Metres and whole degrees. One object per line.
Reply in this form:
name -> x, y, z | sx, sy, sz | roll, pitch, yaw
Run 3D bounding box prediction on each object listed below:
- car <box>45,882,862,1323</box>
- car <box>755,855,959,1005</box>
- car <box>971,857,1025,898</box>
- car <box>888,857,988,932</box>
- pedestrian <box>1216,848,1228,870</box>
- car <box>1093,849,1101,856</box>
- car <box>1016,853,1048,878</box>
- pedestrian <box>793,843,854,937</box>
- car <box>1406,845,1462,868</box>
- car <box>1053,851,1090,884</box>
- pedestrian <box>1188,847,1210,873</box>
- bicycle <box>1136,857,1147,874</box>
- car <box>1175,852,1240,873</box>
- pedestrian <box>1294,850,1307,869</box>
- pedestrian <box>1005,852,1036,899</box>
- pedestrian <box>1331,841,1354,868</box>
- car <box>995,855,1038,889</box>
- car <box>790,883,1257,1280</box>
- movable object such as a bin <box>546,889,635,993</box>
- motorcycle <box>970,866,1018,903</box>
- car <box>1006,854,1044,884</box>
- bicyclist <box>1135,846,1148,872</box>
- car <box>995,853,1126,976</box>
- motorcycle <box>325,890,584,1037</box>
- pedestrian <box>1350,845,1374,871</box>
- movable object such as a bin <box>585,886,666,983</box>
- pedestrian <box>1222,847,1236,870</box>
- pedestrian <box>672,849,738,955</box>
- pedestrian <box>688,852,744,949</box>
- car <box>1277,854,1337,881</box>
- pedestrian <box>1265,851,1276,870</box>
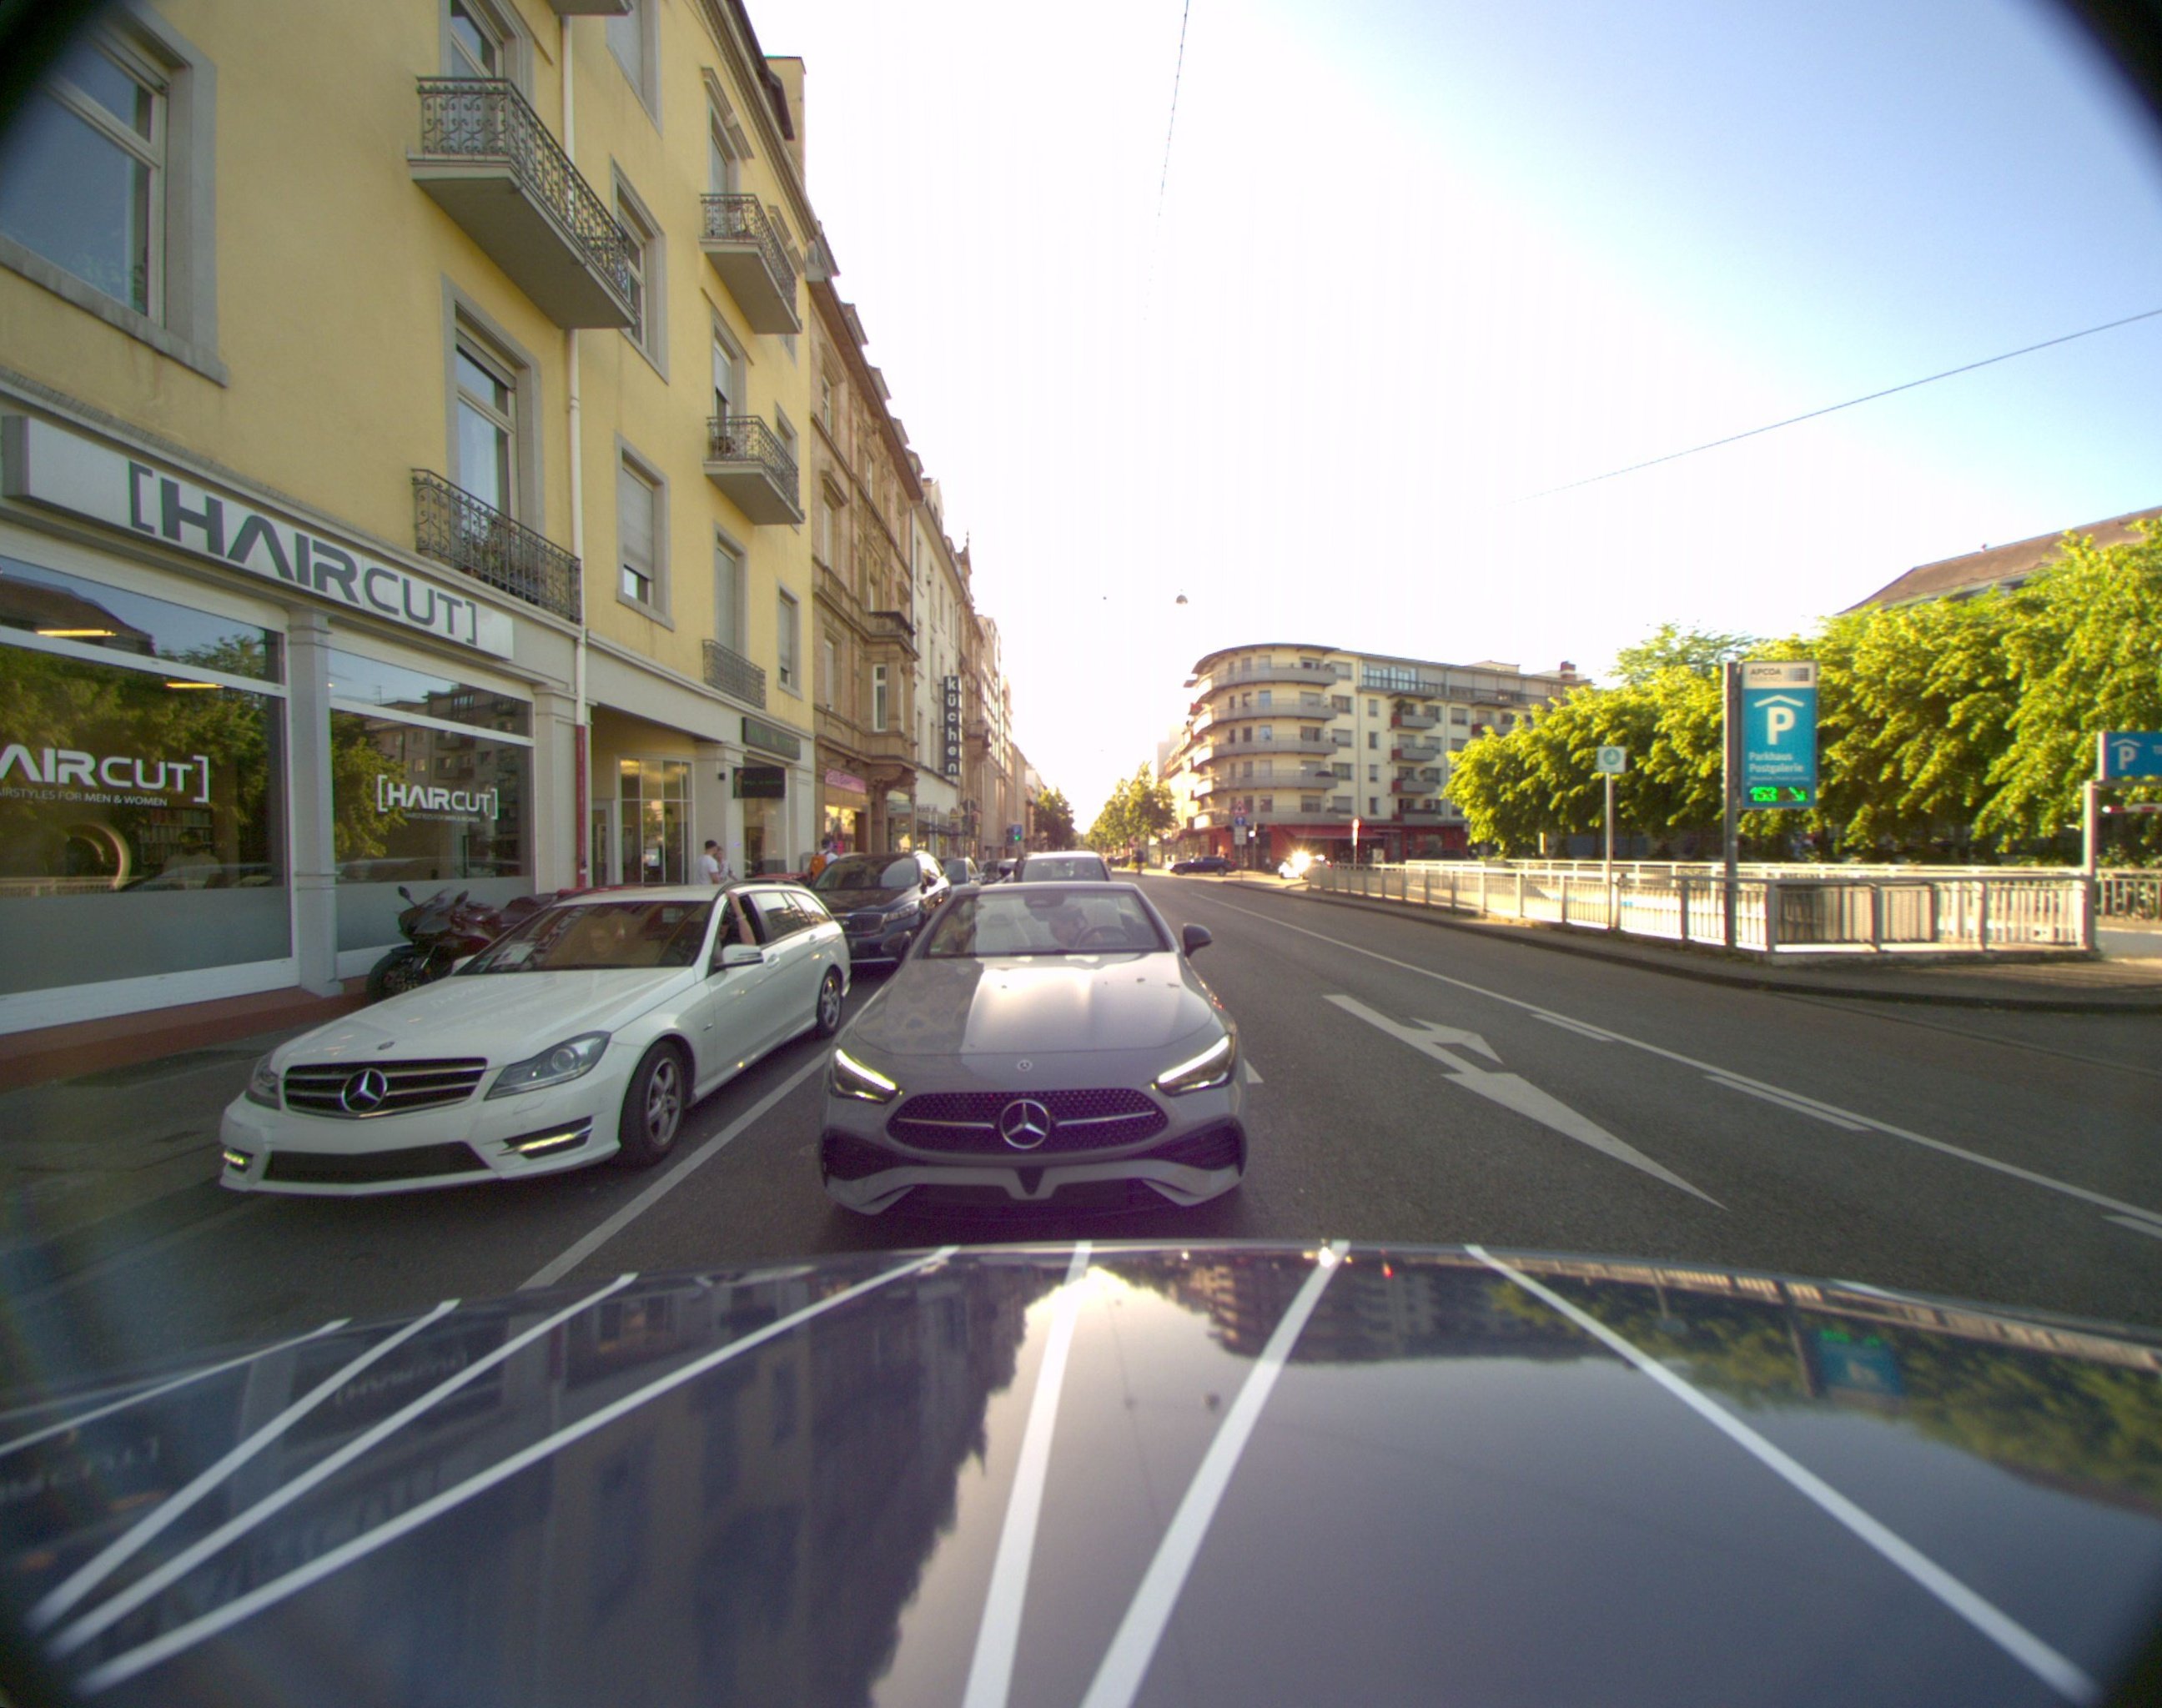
car -> -3.049, 1.035, 5.202 | 1.759, 1.453, 4.597 | -1, 0, 0
car -> -2.993, 0.894, 11.269 | 1.858, 1.688, 4.697 | -1, 0, -4
car -> -3.281, 0.886, 30.719 | 1.715, 1.477, 3.999 | -1, 0, 0
car -> -3.277, 0.892, 17.958 | 1.696, 1.559, 3.018 | -1, 0, 1
pedestrian -> 11.220, 0.389, 60.579 | 0.697, 1.696, 0.676 | -1, 1, 38
car -> 4.439, -0.410, 212.655 | 1.998, 1.805, 4.000 | -1, 0, 1
car -> -3.021, 0.693, 47.587 | 1.715, 1.477, 4.062 | -1, 0, 0
pedestrian -> -4.597, 0.626, 13.628 | 0.795, 1.607, 0.763 | -1, 1, -1
car -> 29.036, 0.176, 62.446 | 4.004, 1.740, 1.996 | -2, 1, -23
car -> -0.496, 0.712, 43.488 | 1.952, 1.742, 4.000 | -1, 0, 1
pedestrian -> 9.212, 0.470, 59.357 | 1.202, 2.002, 1.018 | -3, 1, -37
bicycle -> 4.004, 0.766, 50.294 | 0.661, 1.083, 1.971 | -1, 0, 3
car -> 8.756, 0.578, 52.577 | 4.282, 1.375, 2.002 | -1, 0, 12
pedestrian -> 17.692, 0.442, 61.148 | 0.583, 1.453, 0.790 | -2, 1, -37
pedestrian -> -2.201, 0.764, 27.579 | 0.695, 1.657, 0.832 | -2, 1, -42
pedestrian -> 19.345, 0.047, 56.251 | 1.316, 2.002, 1.298 | -1, 1, 33
car -> -3.047, 0.814, 36.474 | 1.715, 1.477, 3.999 | -1, 0, 0
car -> -0.250, 1.004, 5.213 | 1.849, 1.371, 4.255 | -2, 0, -1
movable object such as a bin -> -6.103, 1.063, 9.482 | 0.647, 1.200, 0.644 | -1, 1, 1
motorcycle -> -3.053, 1.049, 26.781 | 0.769, 1.225, 1.546 | -1, 1, 42
car -> -2.979, 0.764, 40.992 | 1.715, 1.477, 3.999 | -1, 0, 0
bicyclist -> 3.982, 0.314, 50.337 | 0.758, 1.651, 1.143 | -2, 1, 2
car -> -0.247, 0.809, 12.170 | 1.716, 1.599, 4.000 | -1, 0, 1
motorcycle -> -6.256, 1.024, 7.819 | 0.773, 1.158, 2.247 | 1, 0, 1
pedestrian -> 21.865, 0.329, 59.116 | 1.234, 2.002, 1.259 | -2, 1, -21
movable object such as a bin -> -6.054, 1.054, 10.133 | 0.647, 1.200, 0.644 | -1, 1, 1
pedestrian -> 11.864, 0.339, 60.822 | 0.756, 1.795, 0.755 | -2, 1, -41
pedestrian -> -5.932, 0.732, 12.019 | 0.642, 1.607, 0.701 | -1, 1, -1
pedestrian -> -6.192, 0.771, 12.920 | 0.572, 1.607, 0.643 | -1, 1, 2
car -> 13.265, 0.754, 44.851 | 1.803, 1.426, 4.248 | -1, 0, -8
pedestrian -> 15.055, 0.502, 60.266 | 0.791, 1.452, 0.583 | -1, 1, 10
